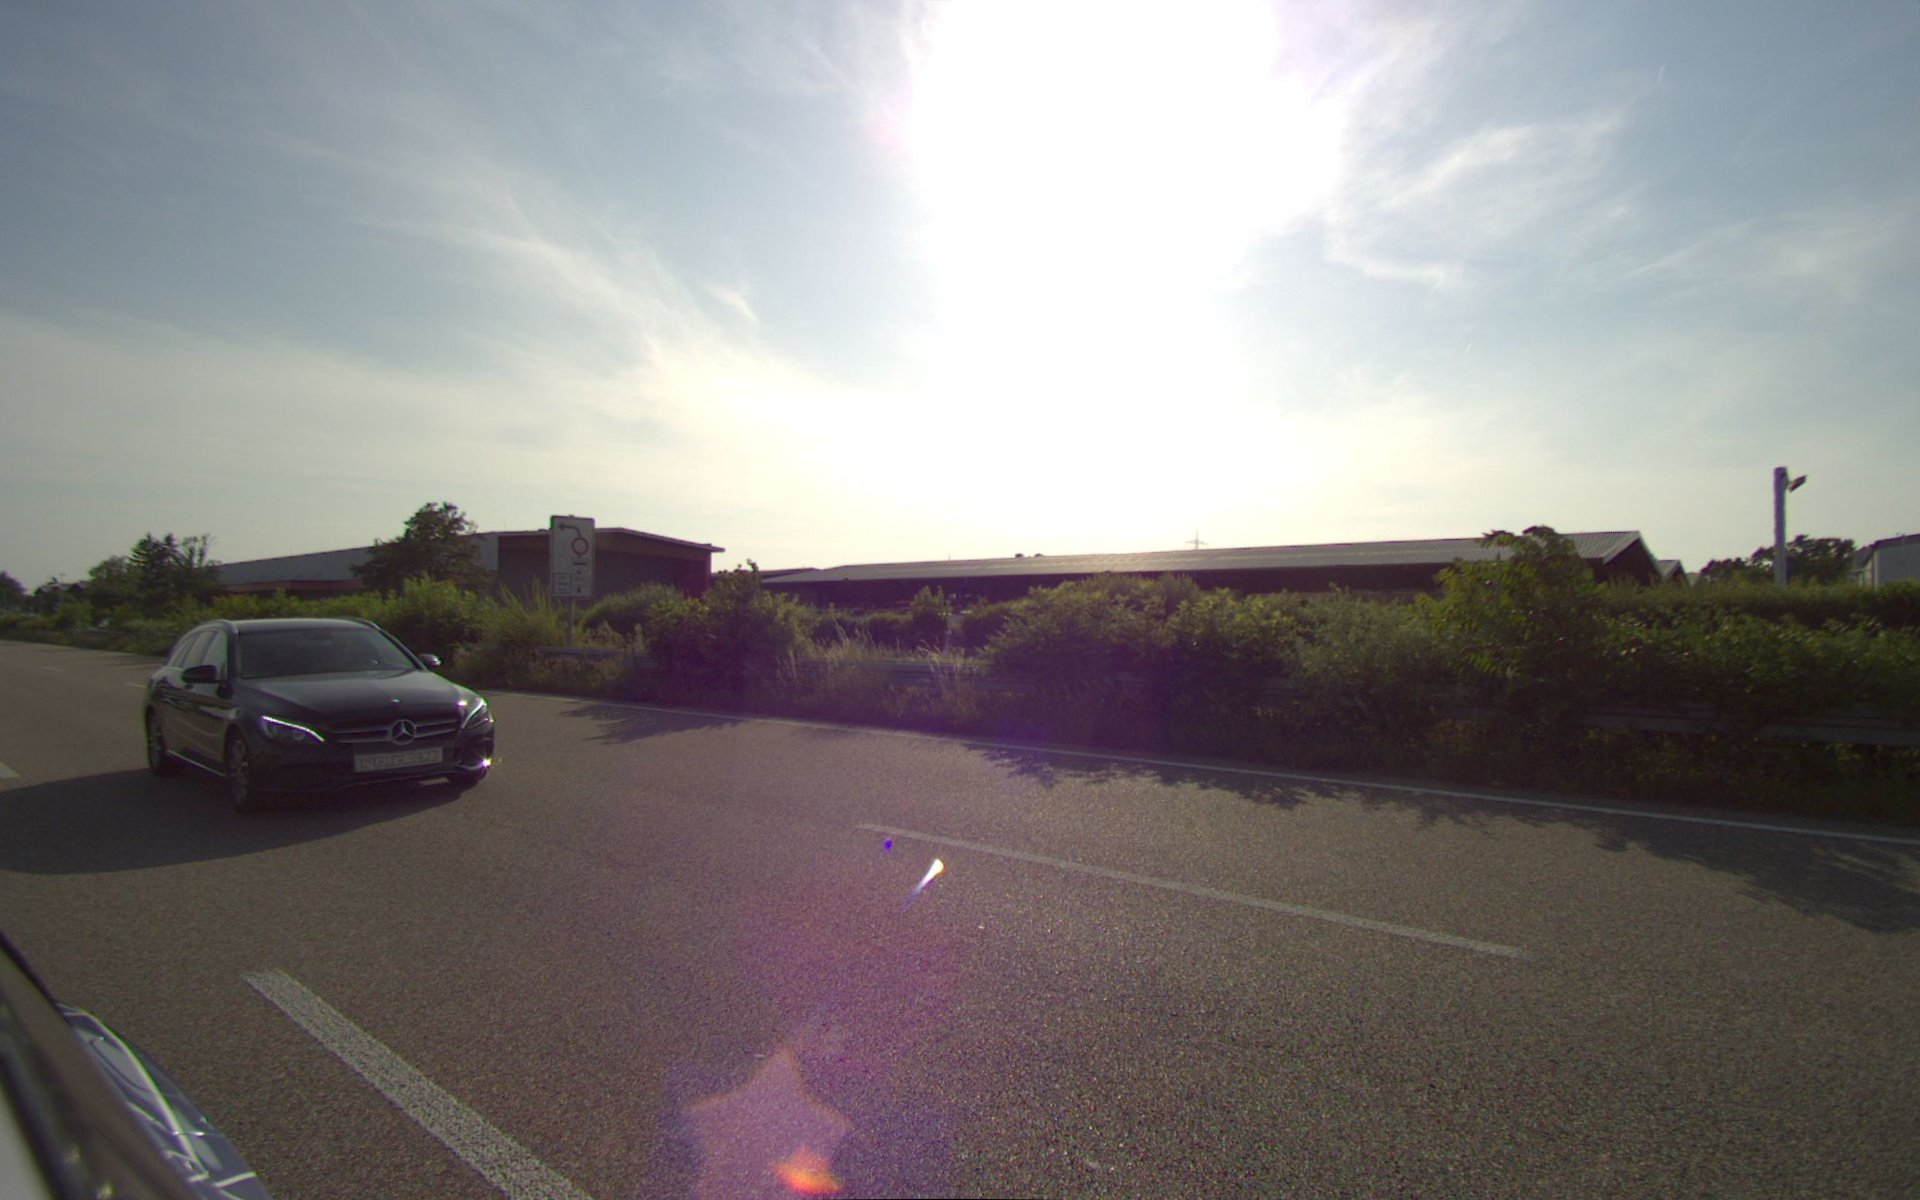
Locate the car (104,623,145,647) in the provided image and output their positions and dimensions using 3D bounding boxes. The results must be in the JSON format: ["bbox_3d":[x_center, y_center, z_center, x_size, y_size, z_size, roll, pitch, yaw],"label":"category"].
[{"bbox_3d":[-72.166,3.012,87.412,3.993,1.963,1.818,-1,-2,37],"label":"car"}]

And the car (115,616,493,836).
[{"bbox_3d":[-6.089,0.887,9.087,5.020,1.482,1.556,-1,-1,41],"label":"car"}]
